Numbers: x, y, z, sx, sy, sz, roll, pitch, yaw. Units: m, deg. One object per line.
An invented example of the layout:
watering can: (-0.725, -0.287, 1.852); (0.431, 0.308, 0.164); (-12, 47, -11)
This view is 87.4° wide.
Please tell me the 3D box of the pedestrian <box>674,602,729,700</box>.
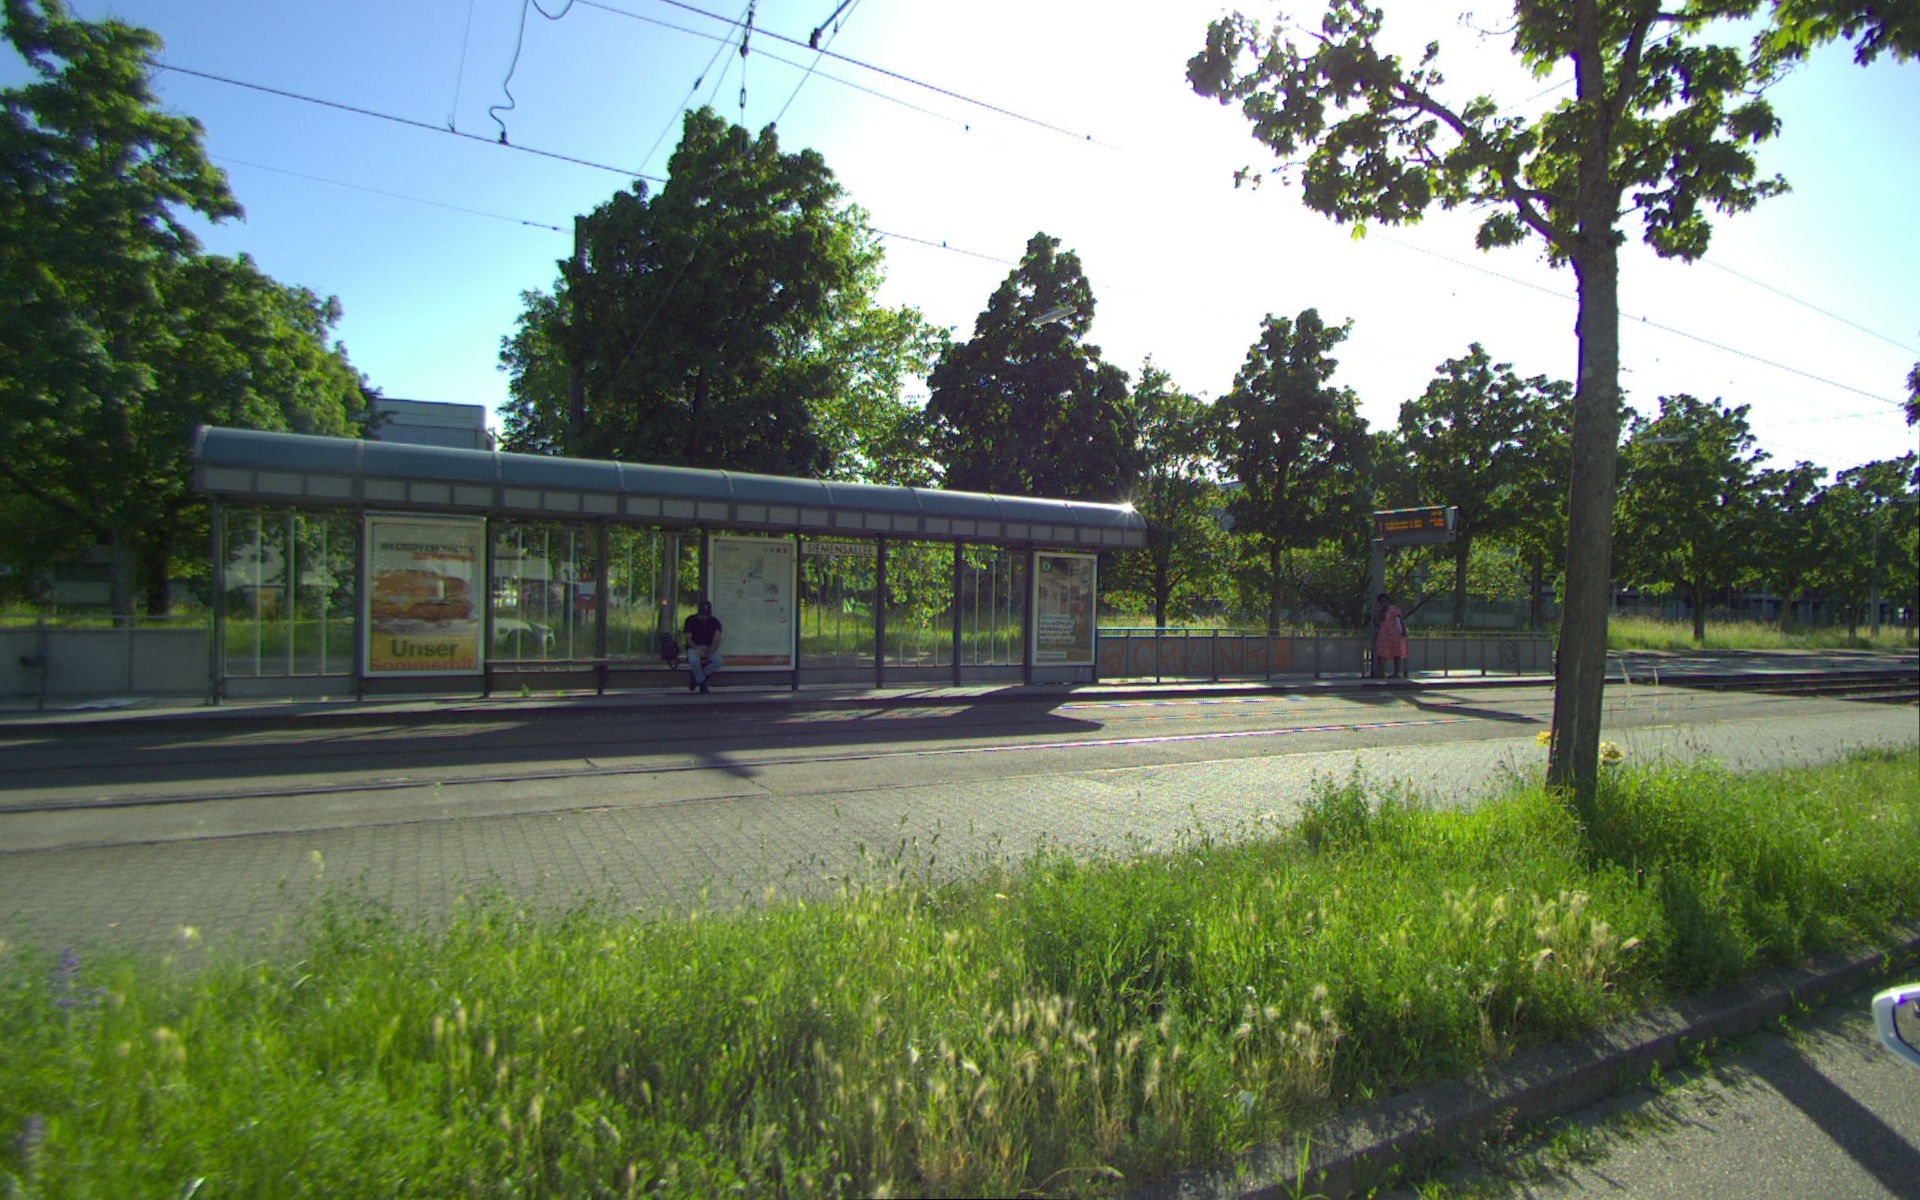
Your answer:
pedestrian: (-3.467, 0.678, 13.460); (0.574, 1.273, 0.561); (2, -2, -29)

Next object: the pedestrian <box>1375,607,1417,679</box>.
pedestrian: (8.983, 0.881, 20.693); (0.552, 1.467, 0.542); (2, -1, -29)
